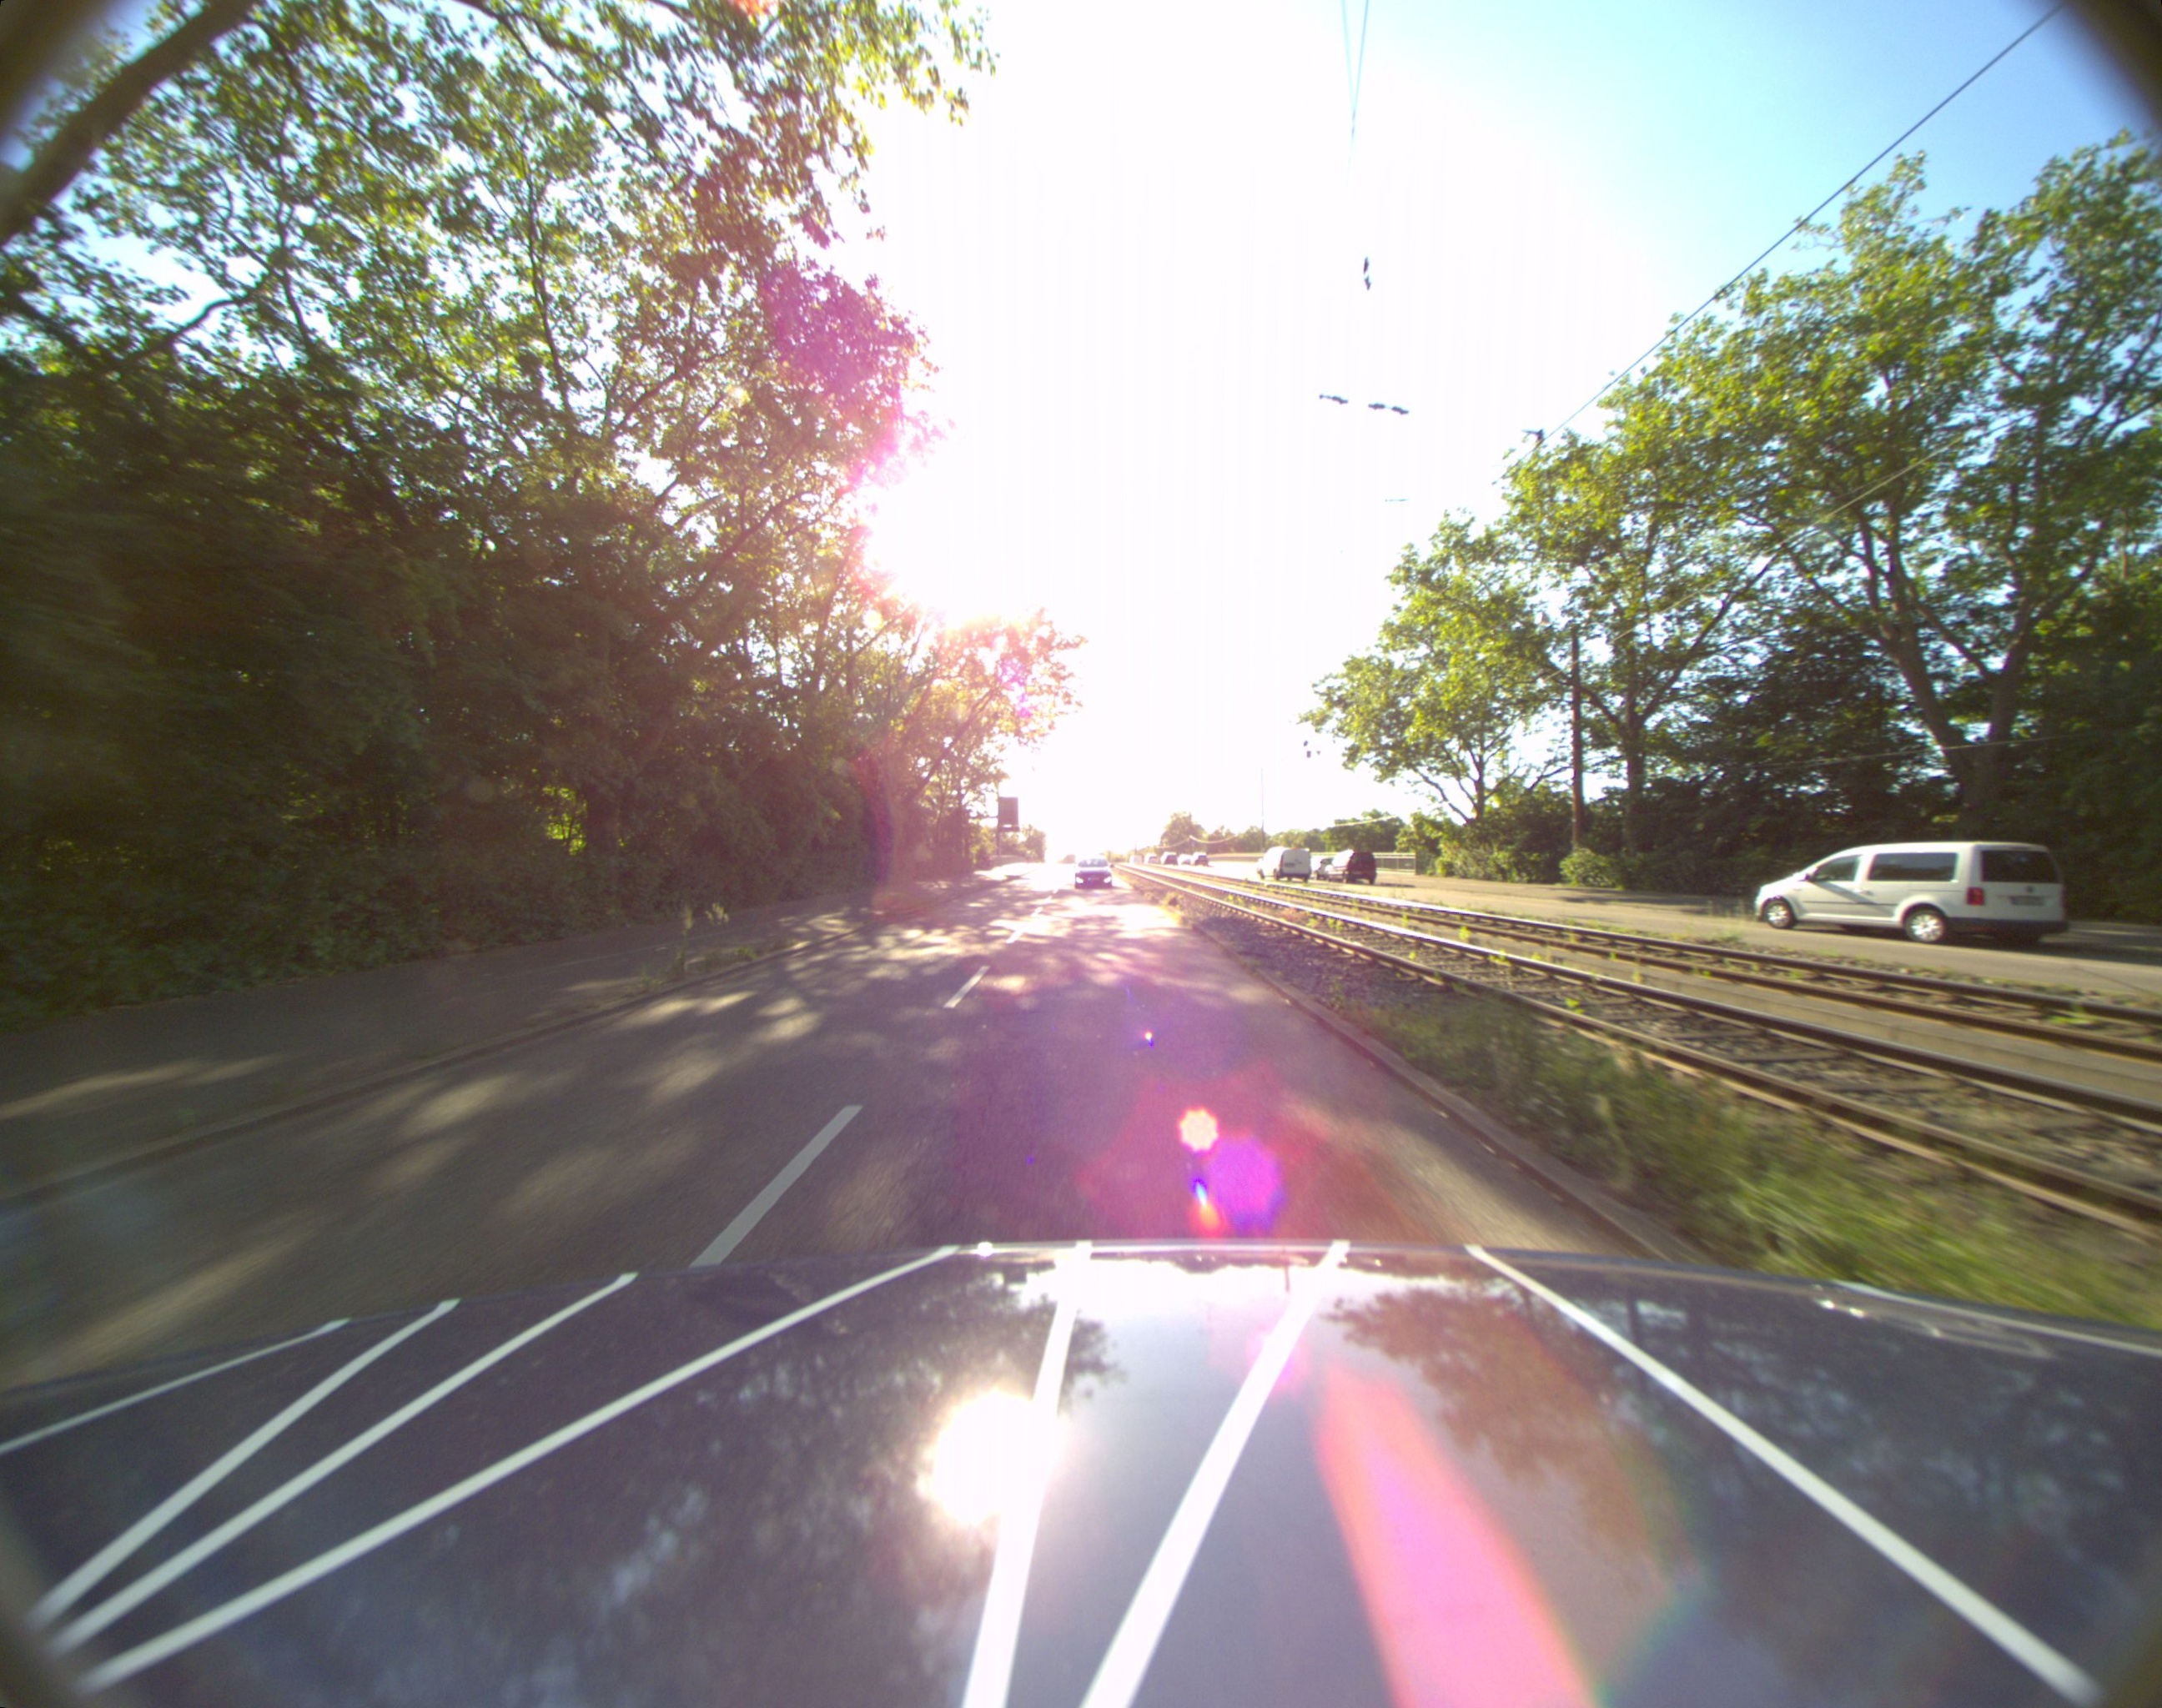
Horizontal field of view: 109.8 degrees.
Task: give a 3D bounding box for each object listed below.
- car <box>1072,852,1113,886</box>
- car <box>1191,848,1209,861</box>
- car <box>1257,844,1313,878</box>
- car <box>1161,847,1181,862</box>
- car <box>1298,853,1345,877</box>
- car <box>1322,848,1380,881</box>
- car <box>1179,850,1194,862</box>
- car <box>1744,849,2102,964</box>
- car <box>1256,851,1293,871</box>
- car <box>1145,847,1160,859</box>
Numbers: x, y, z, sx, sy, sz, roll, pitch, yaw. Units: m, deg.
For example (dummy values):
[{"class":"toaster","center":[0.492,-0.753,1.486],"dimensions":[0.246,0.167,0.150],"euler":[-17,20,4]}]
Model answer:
[{"class":"car","center":[0.520,0.696,36.496],"dimensions":[1.799,1.501,4.000],"euler":[-2,0,-1]},{"class":"car","center":[14.955,0.042,95.458],"dimensions":[1.658,1.491,3.925],"euler":[1,1,0]},{"class":"car","center":[11.862,0.392,44.551],"dimensions":[1.832,1.841,5.035],"euler":[1,1,-1]},{"class":"car","center":[11.602,0.008,98.293],"dimensions":[1.988,1.841,4.961],"euler":[1,1,-1]},{"class":"car","center":[15.206,0.678,48.210],"dimensions":[1.658,1.434,3.784],"euler":[1,1,-2]},{"class":"car","center":[15.133,0.570,42.797],"dimensions":[1.735,1.730,3.899],"euler":[1,1,-2]},{"class":"car","center":[14.822,0.273,106.901],"dimensions":[1.658,1.491,3.925],"euler":[1,1,0]},{"class":"car","center":[15.605,0.848,14.542],"dimensions":[1.832,1.830,4.393],"euler":[1,1,-2]},{"class":"car","center":[15.006,0.526,59.096],"dimensions":[1.658,1.491,3.924],"euler":[1,1,-2]},{"class":"car","center":[11.686,-0.139,124.865],"dimensions":[1.988,1.841,4.961],"euler":[1,1,-1]}]
